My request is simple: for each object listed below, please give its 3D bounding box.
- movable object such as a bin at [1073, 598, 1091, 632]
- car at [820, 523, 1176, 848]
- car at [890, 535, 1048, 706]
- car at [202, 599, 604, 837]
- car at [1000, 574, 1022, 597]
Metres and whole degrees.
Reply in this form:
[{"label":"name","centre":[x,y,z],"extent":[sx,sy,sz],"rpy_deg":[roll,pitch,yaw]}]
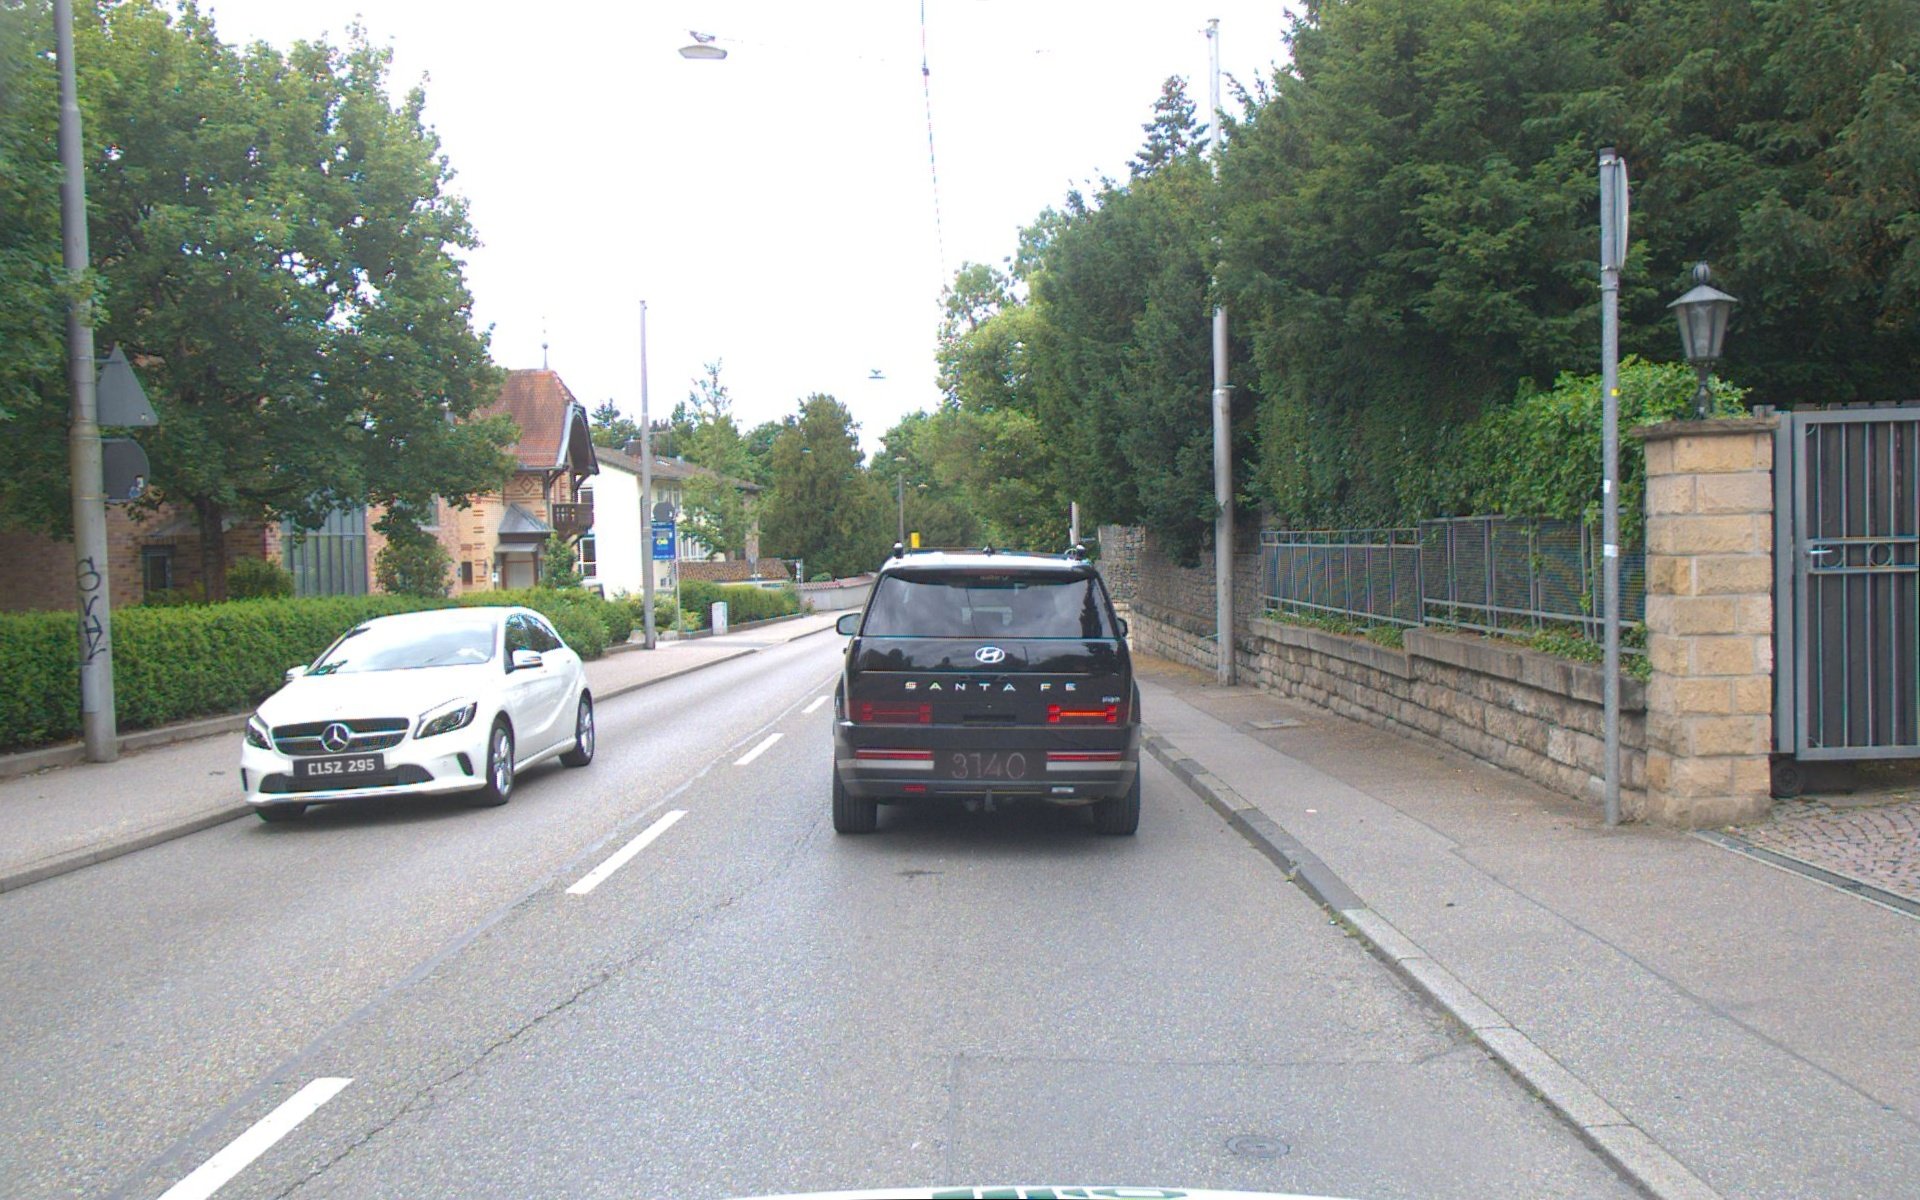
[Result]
[{"label":"movable object such as a bin","centre":[3.385,0.421,46.005],"extent":[0.435,0.925,0.394],"rpy_deg":[-2,0,9]},{"label":"car","centre":[0.217,0.436,11.129],"extent":[1.917,1.742,4.223],"rpy_deg":[1,1,0]},{"label":"car","centre":[0.032,0.179,22.810],"extent":[1.918,1.989,4.223],"rpy_deg":[2,3,-3]},{"label":"car","centre":[-4.134,0.783,13.021],"extent":[1.730,1.446,4.065],"rpy_deg":[-4,0,0]},{"label":"car","centre":[3.984,-1.097,128.855],"extent":[1.610,1.588,3.651],"rpy_deg":[-2,-2,3]}]
